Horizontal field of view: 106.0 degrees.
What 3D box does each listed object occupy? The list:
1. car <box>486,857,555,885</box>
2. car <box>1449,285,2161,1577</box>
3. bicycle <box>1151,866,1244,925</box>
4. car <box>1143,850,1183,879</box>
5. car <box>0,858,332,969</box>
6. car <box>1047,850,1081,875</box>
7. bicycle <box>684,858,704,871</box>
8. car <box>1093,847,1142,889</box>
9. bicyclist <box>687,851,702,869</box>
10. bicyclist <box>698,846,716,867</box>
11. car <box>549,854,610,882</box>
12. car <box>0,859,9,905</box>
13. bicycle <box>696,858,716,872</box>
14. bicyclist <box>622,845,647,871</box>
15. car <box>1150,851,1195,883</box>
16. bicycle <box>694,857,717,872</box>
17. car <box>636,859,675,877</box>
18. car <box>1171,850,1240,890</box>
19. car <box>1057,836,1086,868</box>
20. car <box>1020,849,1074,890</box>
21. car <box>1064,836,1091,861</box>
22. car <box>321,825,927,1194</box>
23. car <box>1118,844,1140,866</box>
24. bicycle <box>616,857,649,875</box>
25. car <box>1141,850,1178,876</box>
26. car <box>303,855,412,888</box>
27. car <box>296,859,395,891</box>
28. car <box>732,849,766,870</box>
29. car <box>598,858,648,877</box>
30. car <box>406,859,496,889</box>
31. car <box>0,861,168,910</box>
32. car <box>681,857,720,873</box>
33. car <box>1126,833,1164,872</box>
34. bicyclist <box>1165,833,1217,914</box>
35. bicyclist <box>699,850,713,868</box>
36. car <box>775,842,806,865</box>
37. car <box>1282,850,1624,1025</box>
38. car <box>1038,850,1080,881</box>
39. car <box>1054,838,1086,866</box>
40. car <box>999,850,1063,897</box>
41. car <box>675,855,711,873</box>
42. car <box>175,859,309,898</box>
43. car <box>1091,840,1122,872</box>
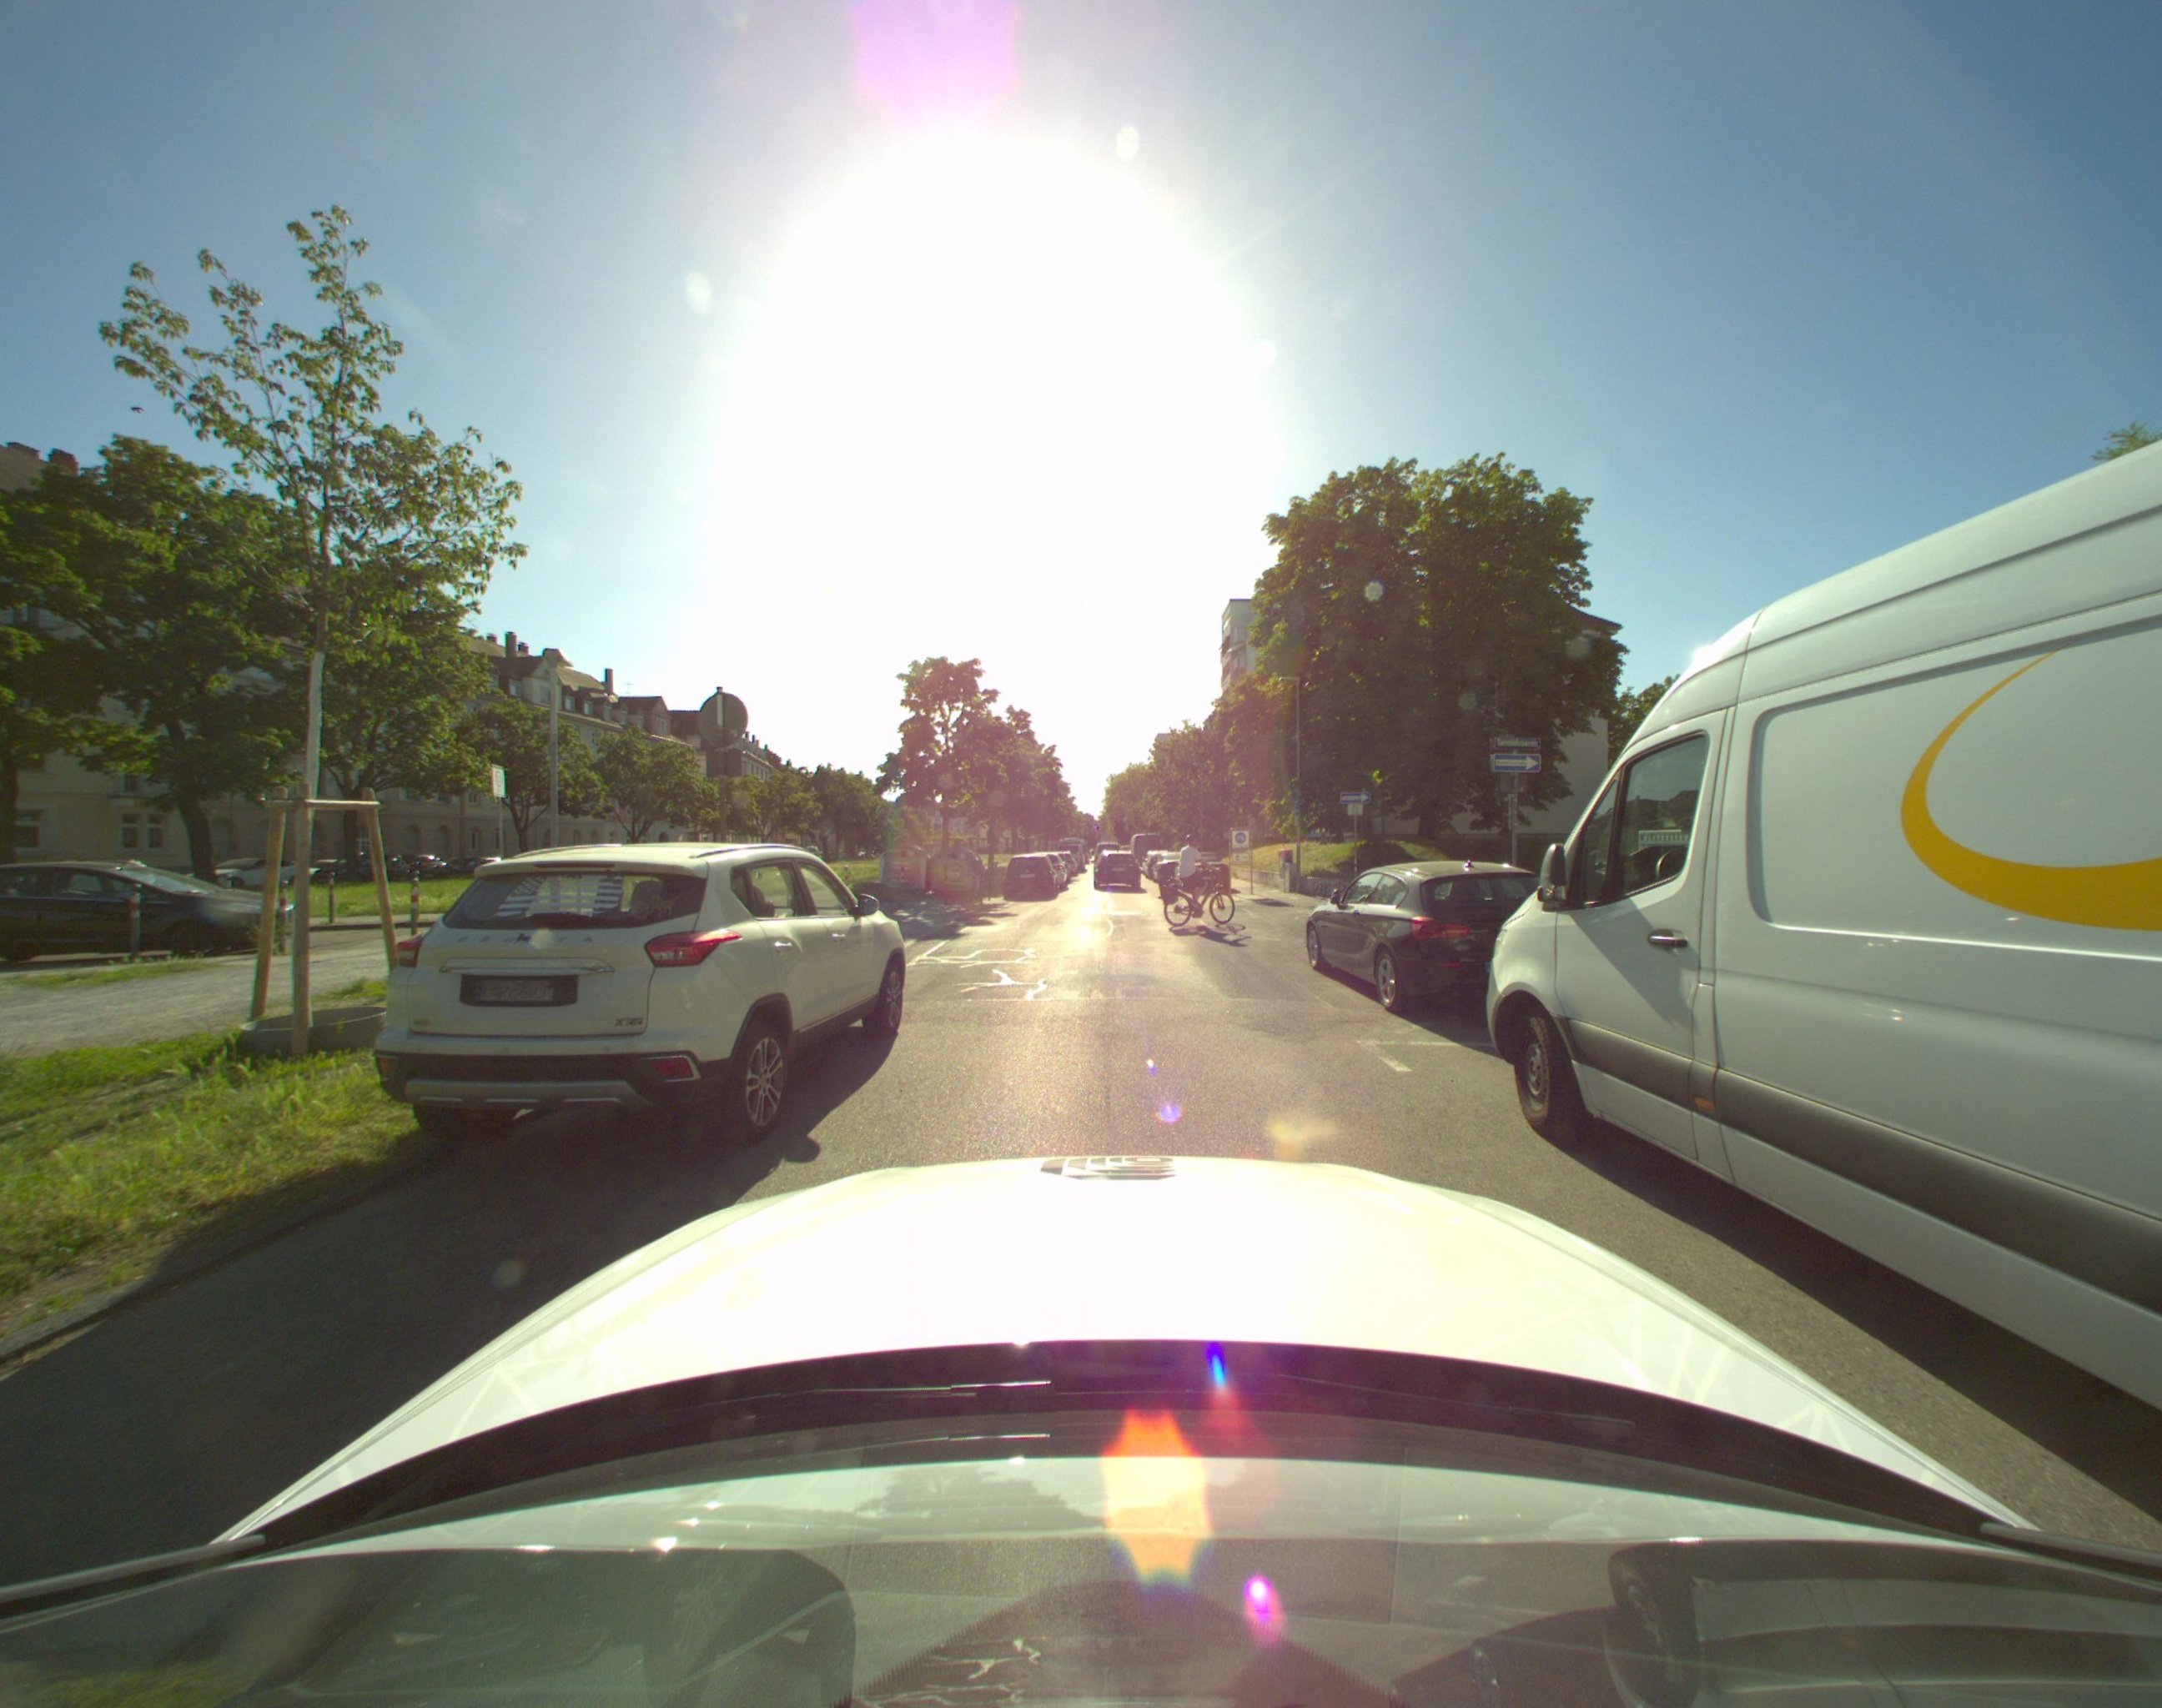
[{"bbox_3d":[-36.202,1.081,52.728,1.627,1.686,4.079,0,0,-1],"label":"car"},{"bbox_3d":[3.336,0.151,1.847,2.134,2.713,6.846,-2,0,3],"label":"car"},{"bbox_3d":[2.364,0.817,16.480,1.766,1.127,0.658,0,0,-21],"label":"bicycle"},{"bbox_3d":[4.369,0.537,43.995,1.773,1.487,4.031,-1,0,0],"label":"car"},{"bbox_3d":[-14.419,0.817,12.134,4.352,1.409,1.906,0,2,-23],"label":"car"},{"bbox_3d":[-1.024,0.485,50.278,1.826,1.500,4.129,0,0,3],"label":"car"},{"bbox_3d":[-32.077,0.862,67.554,0.730,1.079,1.955,0,1,0],"label":"bicycle"},{"bbox_3d":[1.422,0.494,31.820,1.772,1.531,4.003,1,0,3],"label":"car"},{"bbox_3d":[-32.104,0.488,67.648,0.735,1.437,0.943,0,0,1],"label":"bicyclist"},{"bbox_3d":[-32.810,0.234,71.447,0.938,1.837,1.449,-1,-1,0],"label":"bicyclist"},{"bbox_3d":[-36.104,0.979,58.775,1.731,1.908,4.459,0,0,-1],"label":"car"},{"bbox_3d":[-42.433,1.104,29.516,1.857,1.757,4.000,0,0,0],"label":"car"},{"bbox_3d":[-31.127,0.902,67.650,0.730,1.079,1.955,0,1,0],"label":"bicycle"},{"bbox_3d":[-32.716,0.313,59.675,0.937,1.837,1.451,-1,-1,3],"label":"bicyclist"},{"bbox_3d":[4.181,0.578,37.621,1.772,1.371,4.129,0,0,3],"label":"car"},{"bbox_3d":[-32.845,0.913,71.340,0.807,1.252,2.634,0,0,0],"label":"bicycle"},{"bbox_3d":[-35.881,1.137,68.750,1.375,1.440,3.344,0,0,2],"label":"car"},{"bbox_3d":[4.750,0.554,31.653,2.117,1.337,4.509,-3,0,3],"label":"car"},{"bbox_3d":[-0.728,-0.173,65.157,2.090,2.496,4.129,0,0,3],"label":"car"},{"bbox_3d":[-1.298,0.588,32.546,1.770,1.495,3.877,-2,0,3],"label":"car"},{"bbox_3d":[-0.360,-0.621,90.619,2.606,2.645,6.118,0,0,3],"label":"car"},{"bbox_3d":[-2.516,0.708,5.889,1.749,1.647,4.290,-2,0,3],"label":"car"},{"bbox_3d":[5.188,0.069,88.707,2.155,2.292,5.266,-1,0,1],"label":"car"},{"bbox_3d":[-32.705,0.868,59.394,0.806,1.252,2.637,0,-1,4],"label":"bicycle"},{"bbox_3d":[4.674,0.483,49.051,1.980,1.487,4.129,0,0,3],"label":"car"},{"bbox_3d":[-36.255,0.840,40.993,1.627,1.549,4.353,0,0,-1],"label":"car"},{"bbox_3d":[-41.882,1.153,46.517,1.838,1.701,4.004,0,0,4],"label":"car"},{"bbox_3d":[-35.456,0.576,87.085,1.689,2.213,5.006,0,0,-1],"label":"car"},{"bbox_3d":[-35.982,1.026,64.062,1.687,1.429,3.777,0,0,2],"label":"car"},{"bbox_3d":[-36.363,1.110,47.175,1.751,1.549,4.526,0,0,-1],"label":"car"},{"bbox_3d":[-36.649,1.070,29.583,1.689,1.561,4.696,0,0,-1],"label":"car"},{"bbox_3d":[-35.869,0.983,76.806,1.839,1.440,3.776,0,0,2],"label":"car"},{"bbox_3d":[4.595,-0.114,59.168,2.157,2.689,5.413,-1,0,-2],"label":"car"},{"bbox_3d":[2.210,0.381,16.419,0.792,1.596,0.691,0,0,-21],"label":"bicyclist"},{"bbox_3d":[-31.140,0.416,67.604,0.735,1.437,0.943,-1,-1,1],"label":"bicyclist"},{"bbox_3d":[-35.430,-0.057,99.543,1.910,2.744,5.622,0,0,-1],"label":"car"},{"bbox_3d":[3.868,0.734,9.497,1.952,1.481,4.499,-2,0,1],"label":"car"},{"bbox_3d":[-1.043,0.548,40.475,1.772,1.461,4.129,0,0,3],"label":"car"},{"bbox_3d":[-0.743,-0.165,58.743,2.091,1.942,4.128,0,0,2],"label":"car"},{"bbox_3d":[-1.650,0.641,28.030,1.741,1.425,3.919,-2,-1,3],"label":"car"},{"bbox_3d":[-41.207,1.039,86.582,1.853,1.749,4.000,0,0,0],"label":"car"},{"bbox_3d":[-36.562,1.032,35.649,1.689,1.526,4.079,0,0,-1],"label":"car"},{"bbox_3d":[1.719,0.115,53.406,1.887,1.991,4.013,-2,0,3],"label":"car"}]
